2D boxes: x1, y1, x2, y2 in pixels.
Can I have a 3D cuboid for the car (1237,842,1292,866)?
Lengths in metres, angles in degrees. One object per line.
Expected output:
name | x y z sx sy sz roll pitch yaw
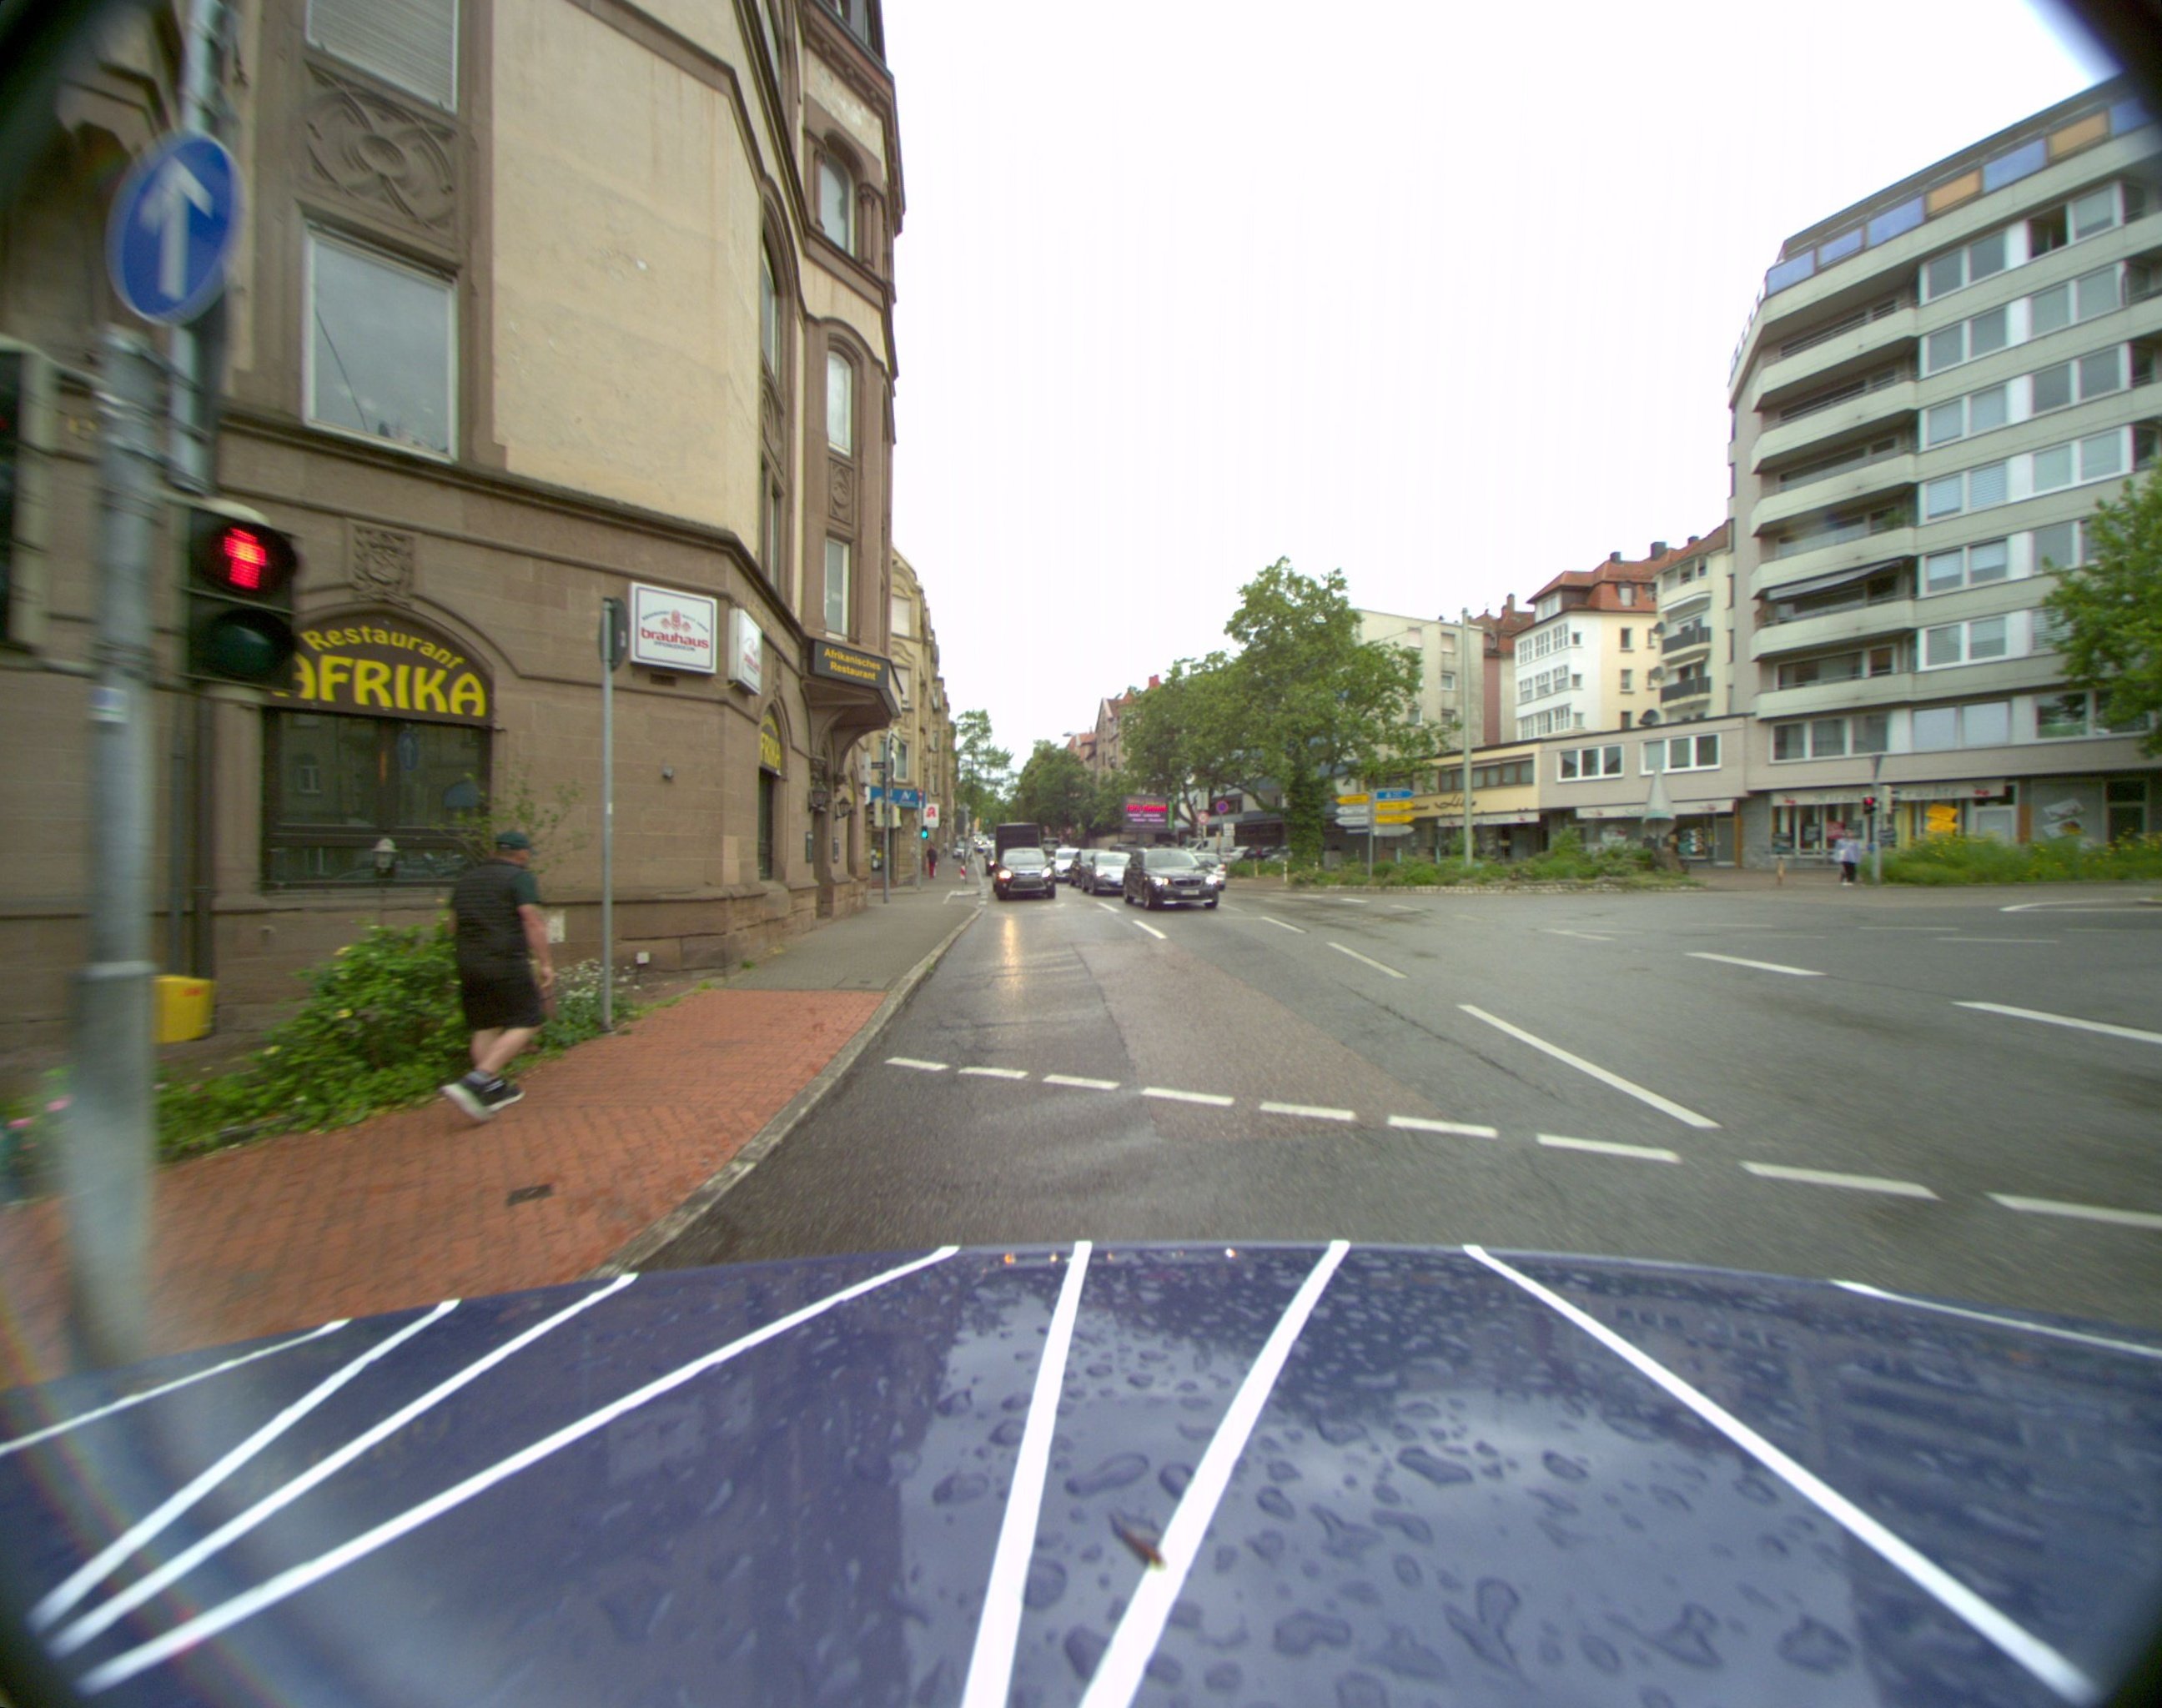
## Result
car | 12.182 -0.033 50.416 3.628 1.408 1.626 -3 3 -38

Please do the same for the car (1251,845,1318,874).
car | 12.965 0.328 48.227 4.224 1.633 1.936 -3 3 -38

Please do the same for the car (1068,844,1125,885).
car | 0.604 0.446 32.802 1.758 1.635 4.209 -2 0 -8

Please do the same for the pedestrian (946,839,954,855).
pedestrian | -12.470 -0.653 72.249 0.645 1.489 0.690 3 5 -9

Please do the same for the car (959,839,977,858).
car | -10.678 -0.547 71.824 1.527 1.609 3.489 4 2 -9

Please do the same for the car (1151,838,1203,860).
car | 7.871 -0.456 62.231 3.841 1.680 1.802 -1 3 -27

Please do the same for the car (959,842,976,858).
car | -11.549 -0.427 77.246 1.548 1.478 3.758 4 1 -9

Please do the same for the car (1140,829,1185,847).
car | 7.150 -1.403 66.675 3.842 1.398 1.676 -5 4 -39

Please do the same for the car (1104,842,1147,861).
car | 4.299 -0.254 72.677 3.842 1.523 1.766 -5 4 -36

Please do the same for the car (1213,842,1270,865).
car | 11.111 -0.052 52.504 3.711 1.408 1.807 -3 3 -34

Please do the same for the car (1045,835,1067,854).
car | -2.709 -1.078 81.110 1.819 1.871 4.237 3 1 -9

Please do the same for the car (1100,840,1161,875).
car | 2.692 0.153 42.322 1.750 1.836 4.137 0 2 -22

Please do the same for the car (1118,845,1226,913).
car | 2.222 0.565 19.710 1.757 1.526 4.211 -1 1 -7

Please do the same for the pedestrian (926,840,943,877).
pedestrian | -8.048 0.231 41.814 0.699 1.939 1.089 2 5 0

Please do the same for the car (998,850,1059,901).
car | -1.801 0.648 25.009 1.863 1.504 3.679 0 1 -6

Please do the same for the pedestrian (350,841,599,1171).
pedestrian | -3.452 0.778 4.445 0.831 1.669 0.892 -2 1 -21

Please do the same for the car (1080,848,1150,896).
car | 1.093 0.558 26.242 1.757 1.474 4.178 -1 1 -6

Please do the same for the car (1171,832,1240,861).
car | 9.385 -0.597 57.291 4.983 1.966 1.875 -2 3 -28

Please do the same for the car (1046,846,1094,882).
car | -0.625 0.449 39.063 1.758 1.635 4.373 -2 2 -9

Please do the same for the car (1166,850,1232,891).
car | 4.723 0.632 30.955 1.630 1.510 3.868 -1 1 -7

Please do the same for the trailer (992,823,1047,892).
trailer | -2.617 0.104 31.450 1.940 2.622 4.679 -1 1 -8

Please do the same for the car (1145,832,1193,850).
car | 7.551 -1.122 64.932 3.842 1.398 1.687 -2 2 -29

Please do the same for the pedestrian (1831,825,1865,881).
pedestrian | 23.669 -0.035 23.452 0.618 1.683 0.626 -1 2 33

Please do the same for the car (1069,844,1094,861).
car | 0.006 -0.129 68.256 1.719 1.488 3.679 0 1 -9
